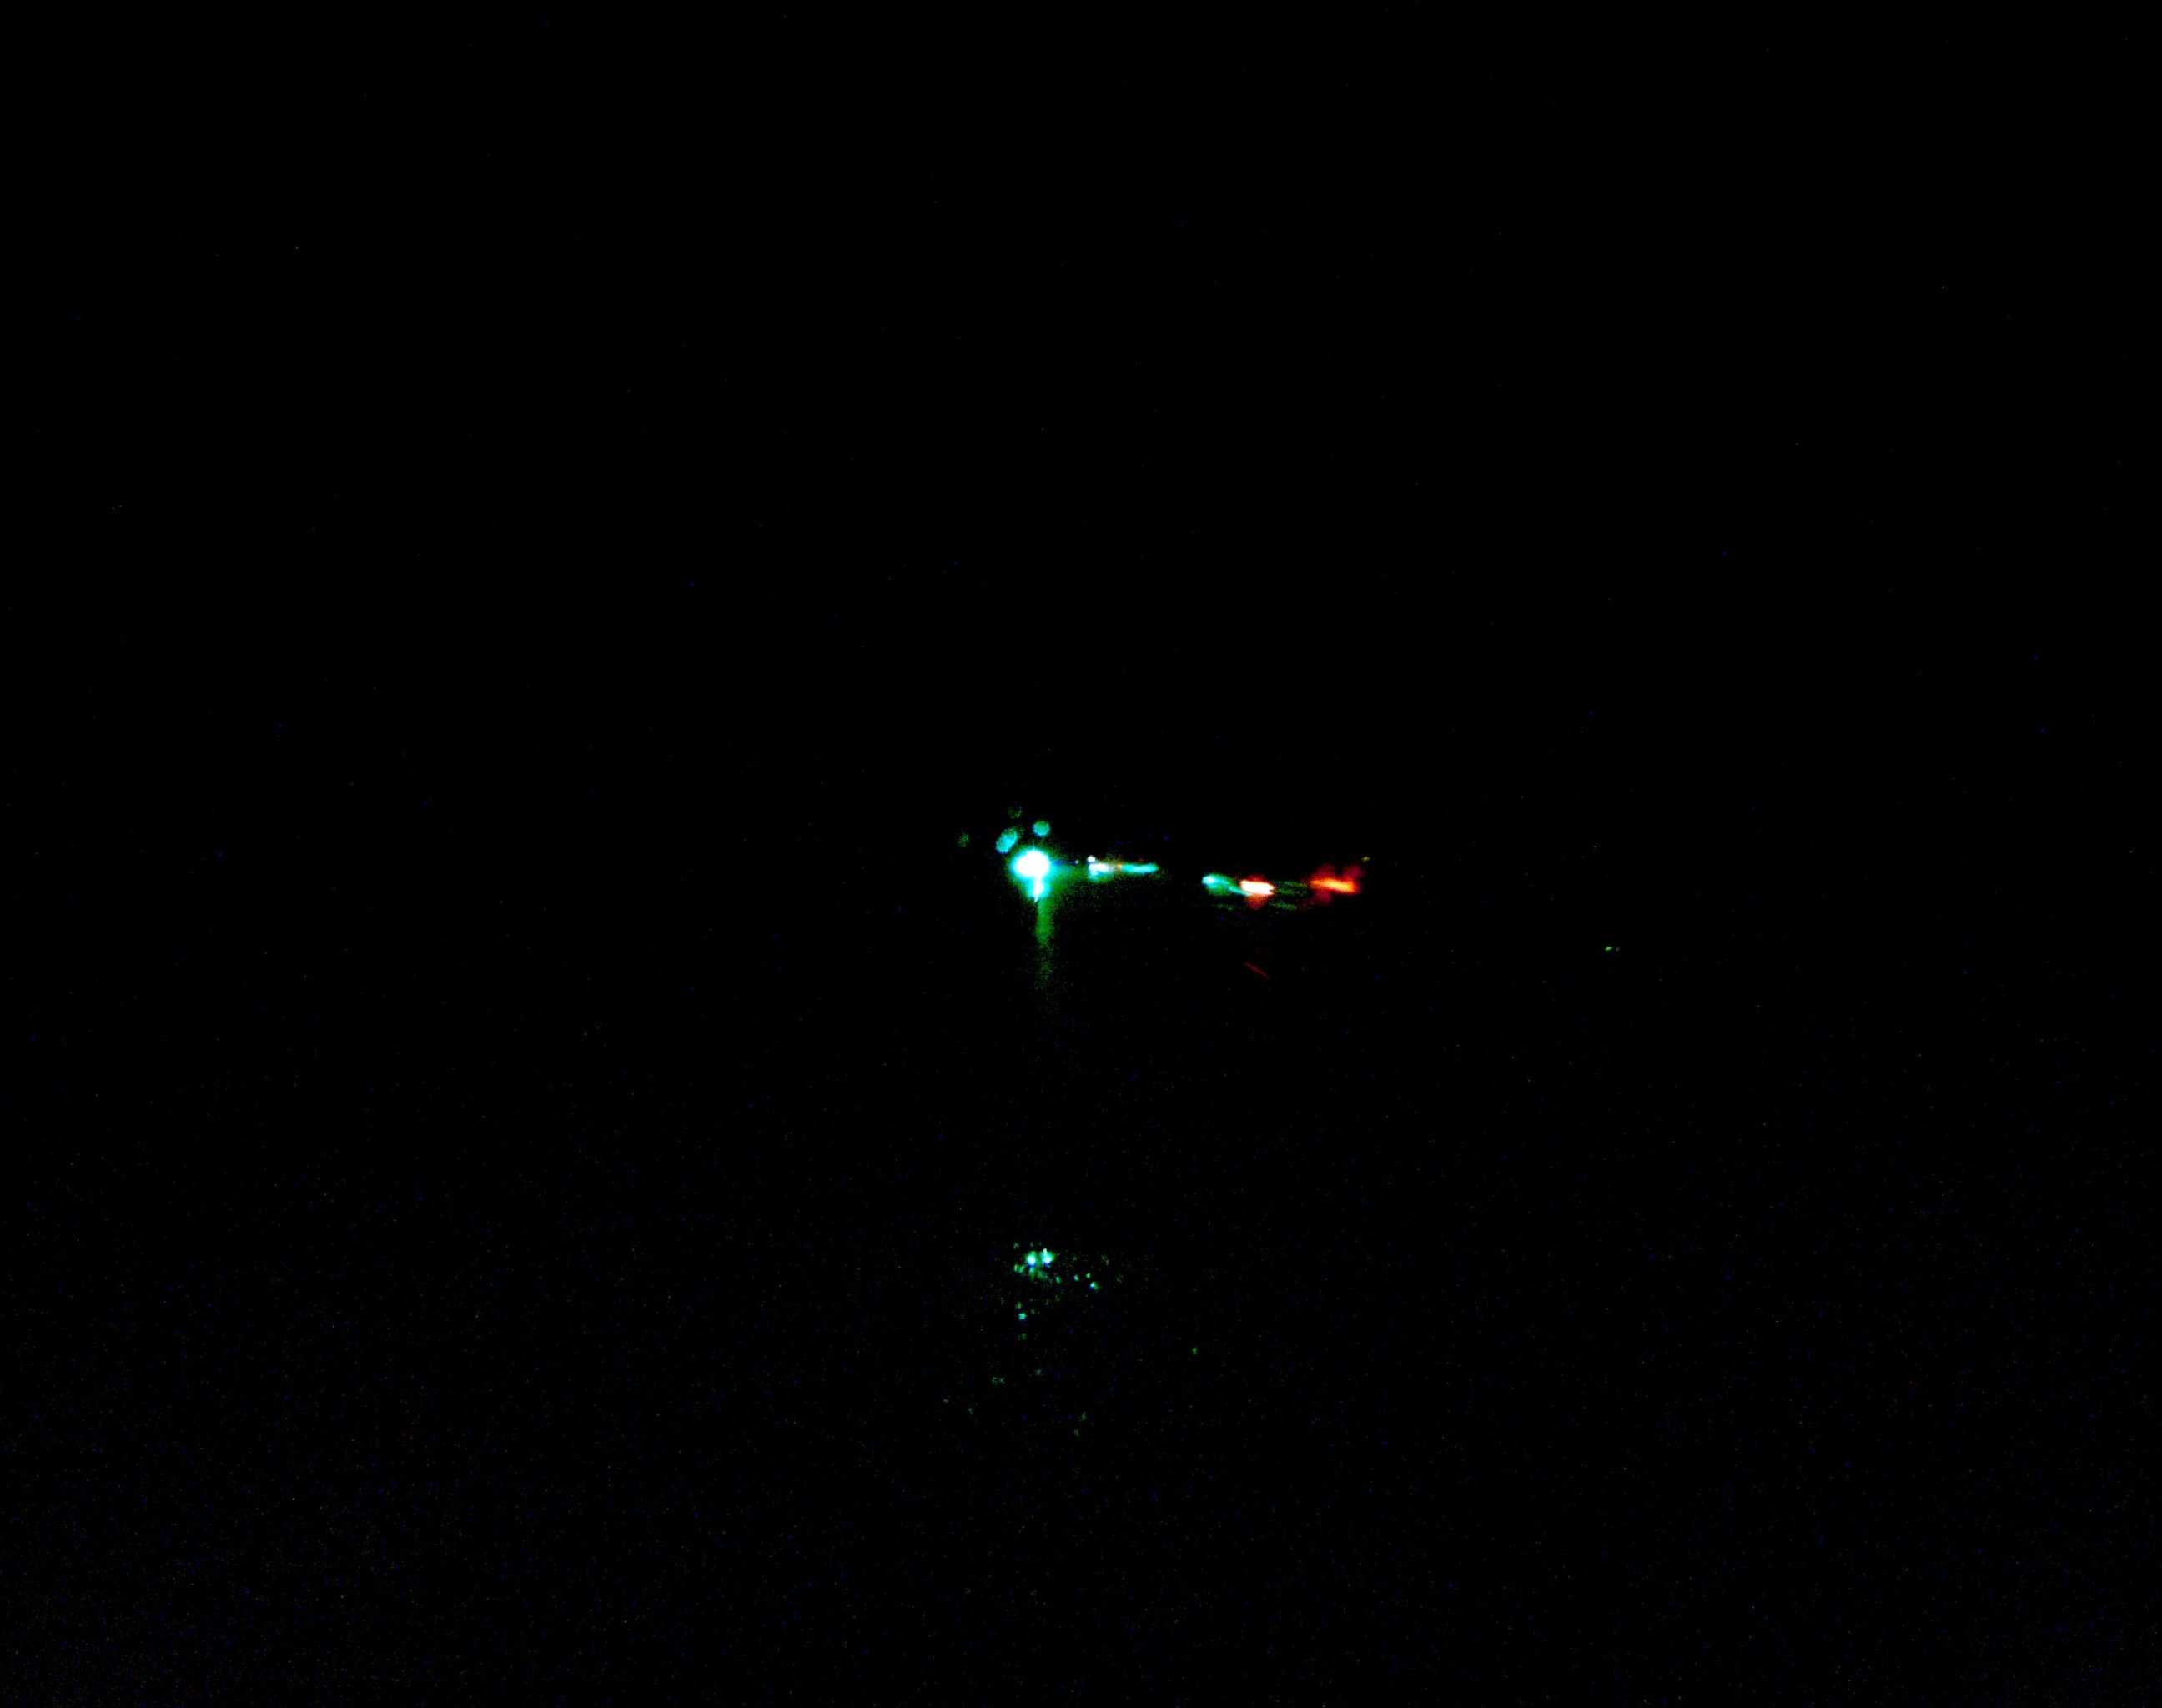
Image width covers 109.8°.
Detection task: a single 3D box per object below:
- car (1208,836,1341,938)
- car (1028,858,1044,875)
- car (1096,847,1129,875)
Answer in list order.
[{"bbox_3d":[3.938,0.587,16.204,1.783,1.833,4.160,-2,1,1],"label":"car"},{"bbox_3d":[-5.170,1.358,86.904,1.798,1.839,3.641,-2,0,-4],"label":"car"},{"bbox_3d":[2.250,0.471,55.481,1.999,1.839,4.904,-2,1,-2],"label":"car"}]
